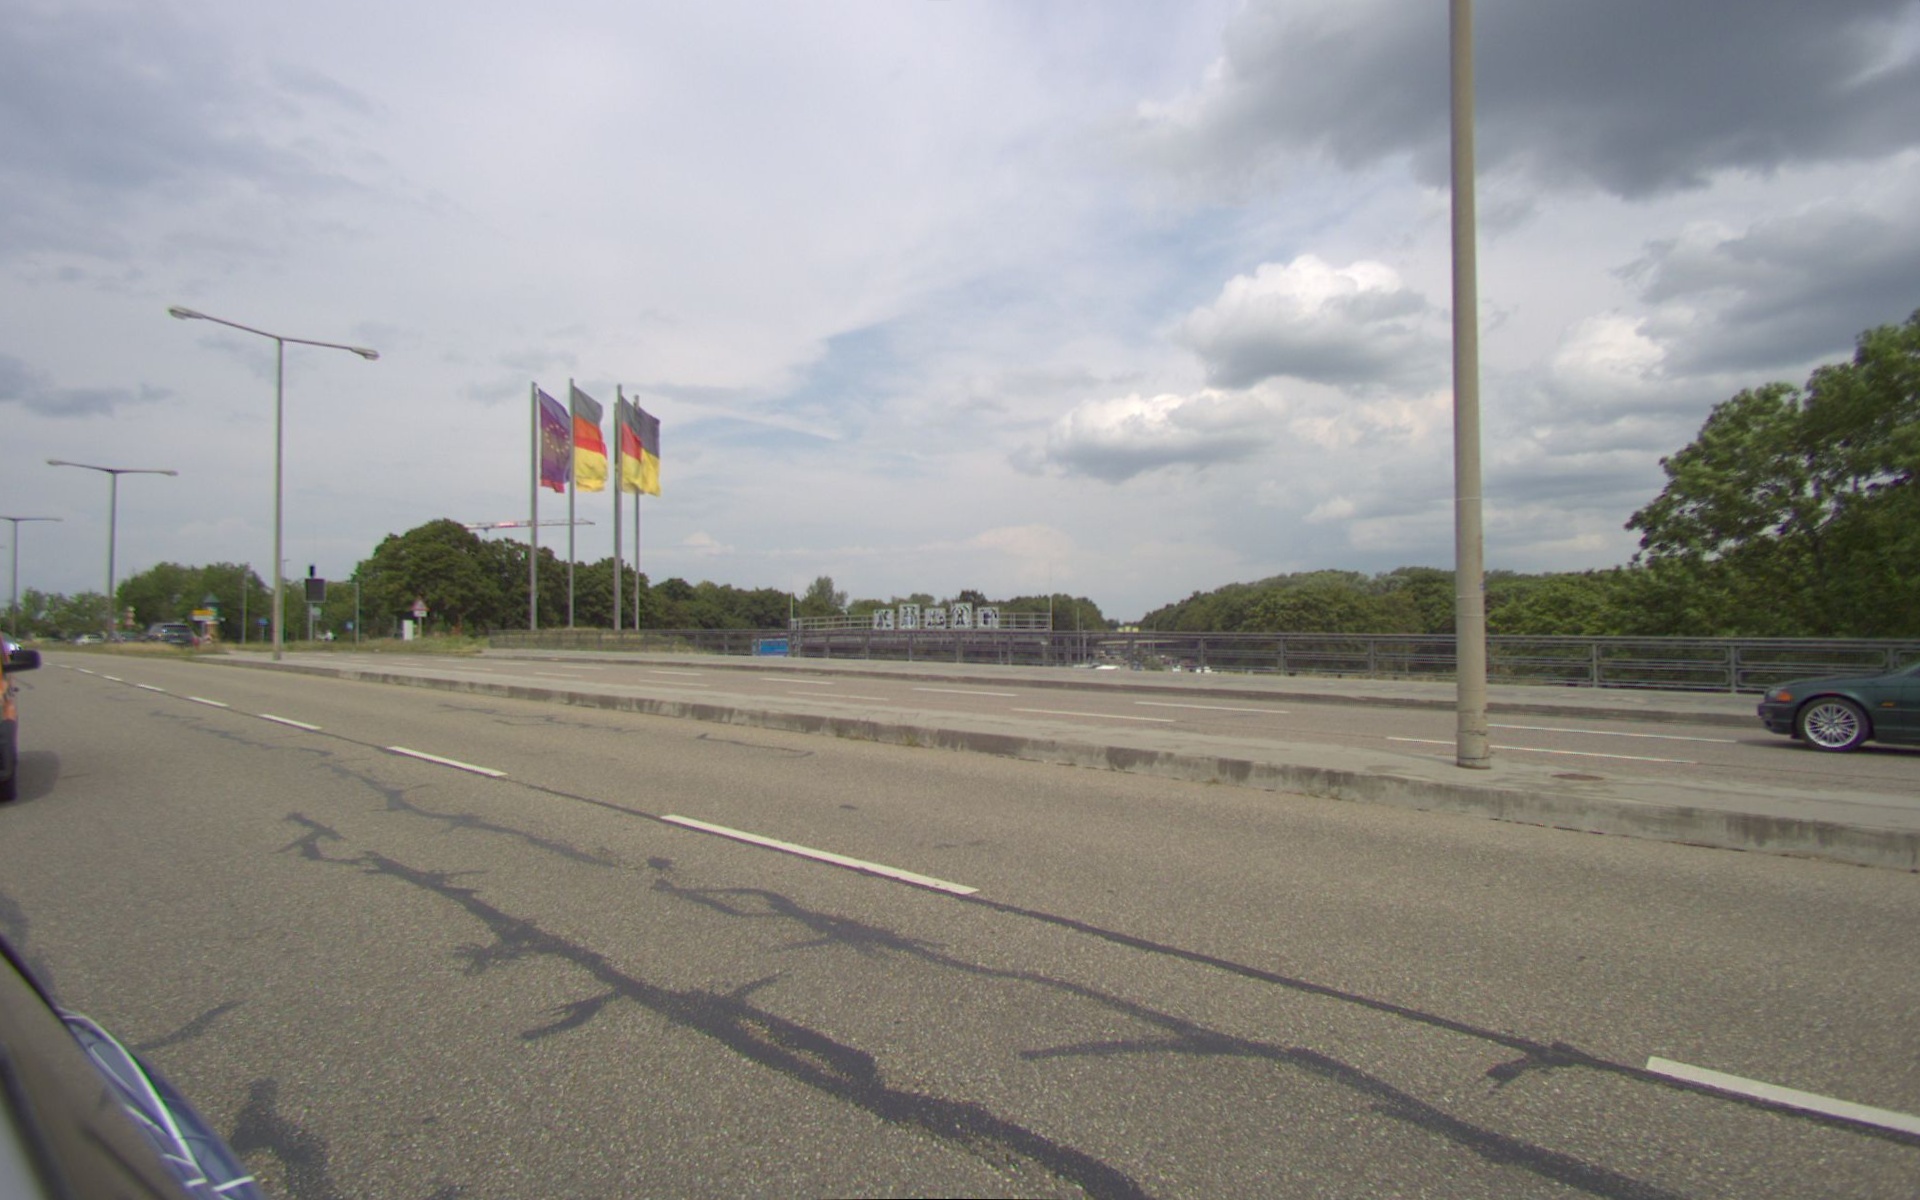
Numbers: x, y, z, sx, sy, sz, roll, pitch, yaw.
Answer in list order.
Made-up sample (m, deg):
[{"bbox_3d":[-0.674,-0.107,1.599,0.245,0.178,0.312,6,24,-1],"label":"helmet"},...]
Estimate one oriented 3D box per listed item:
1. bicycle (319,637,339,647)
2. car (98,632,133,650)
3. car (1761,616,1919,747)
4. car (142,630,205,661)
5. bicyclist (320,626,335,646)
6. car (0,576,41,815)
[{"bbox_3d":[-50.781,3.392,81.453,2.222,0.739,0.809,-2,-2,43],"label":"bicycle"},{"bbox_3d":[-72.339,3.532,86.684,3.997,1.505,1.673,-2,-4,41],"label":"car"},{"bbox_3d":[11.558,0.889,10.730,1.970,1.384,4.581,3,-3,-43],"label":"car"},{"bbox_3d":[-44.381,2.569,57.074,4.661,1.652,1.972,-2,-5,42],"label":"car"},{"bbox_3d":[-50.965,2.885,81.552,0.737,1.604,0.809,-3,-2,43],"label":"bicyclist"},{"bbox_3d":[-9.542,0.806,8.785,4.429,1.849,1.868,-2,-1,42],"label":"car"}]
